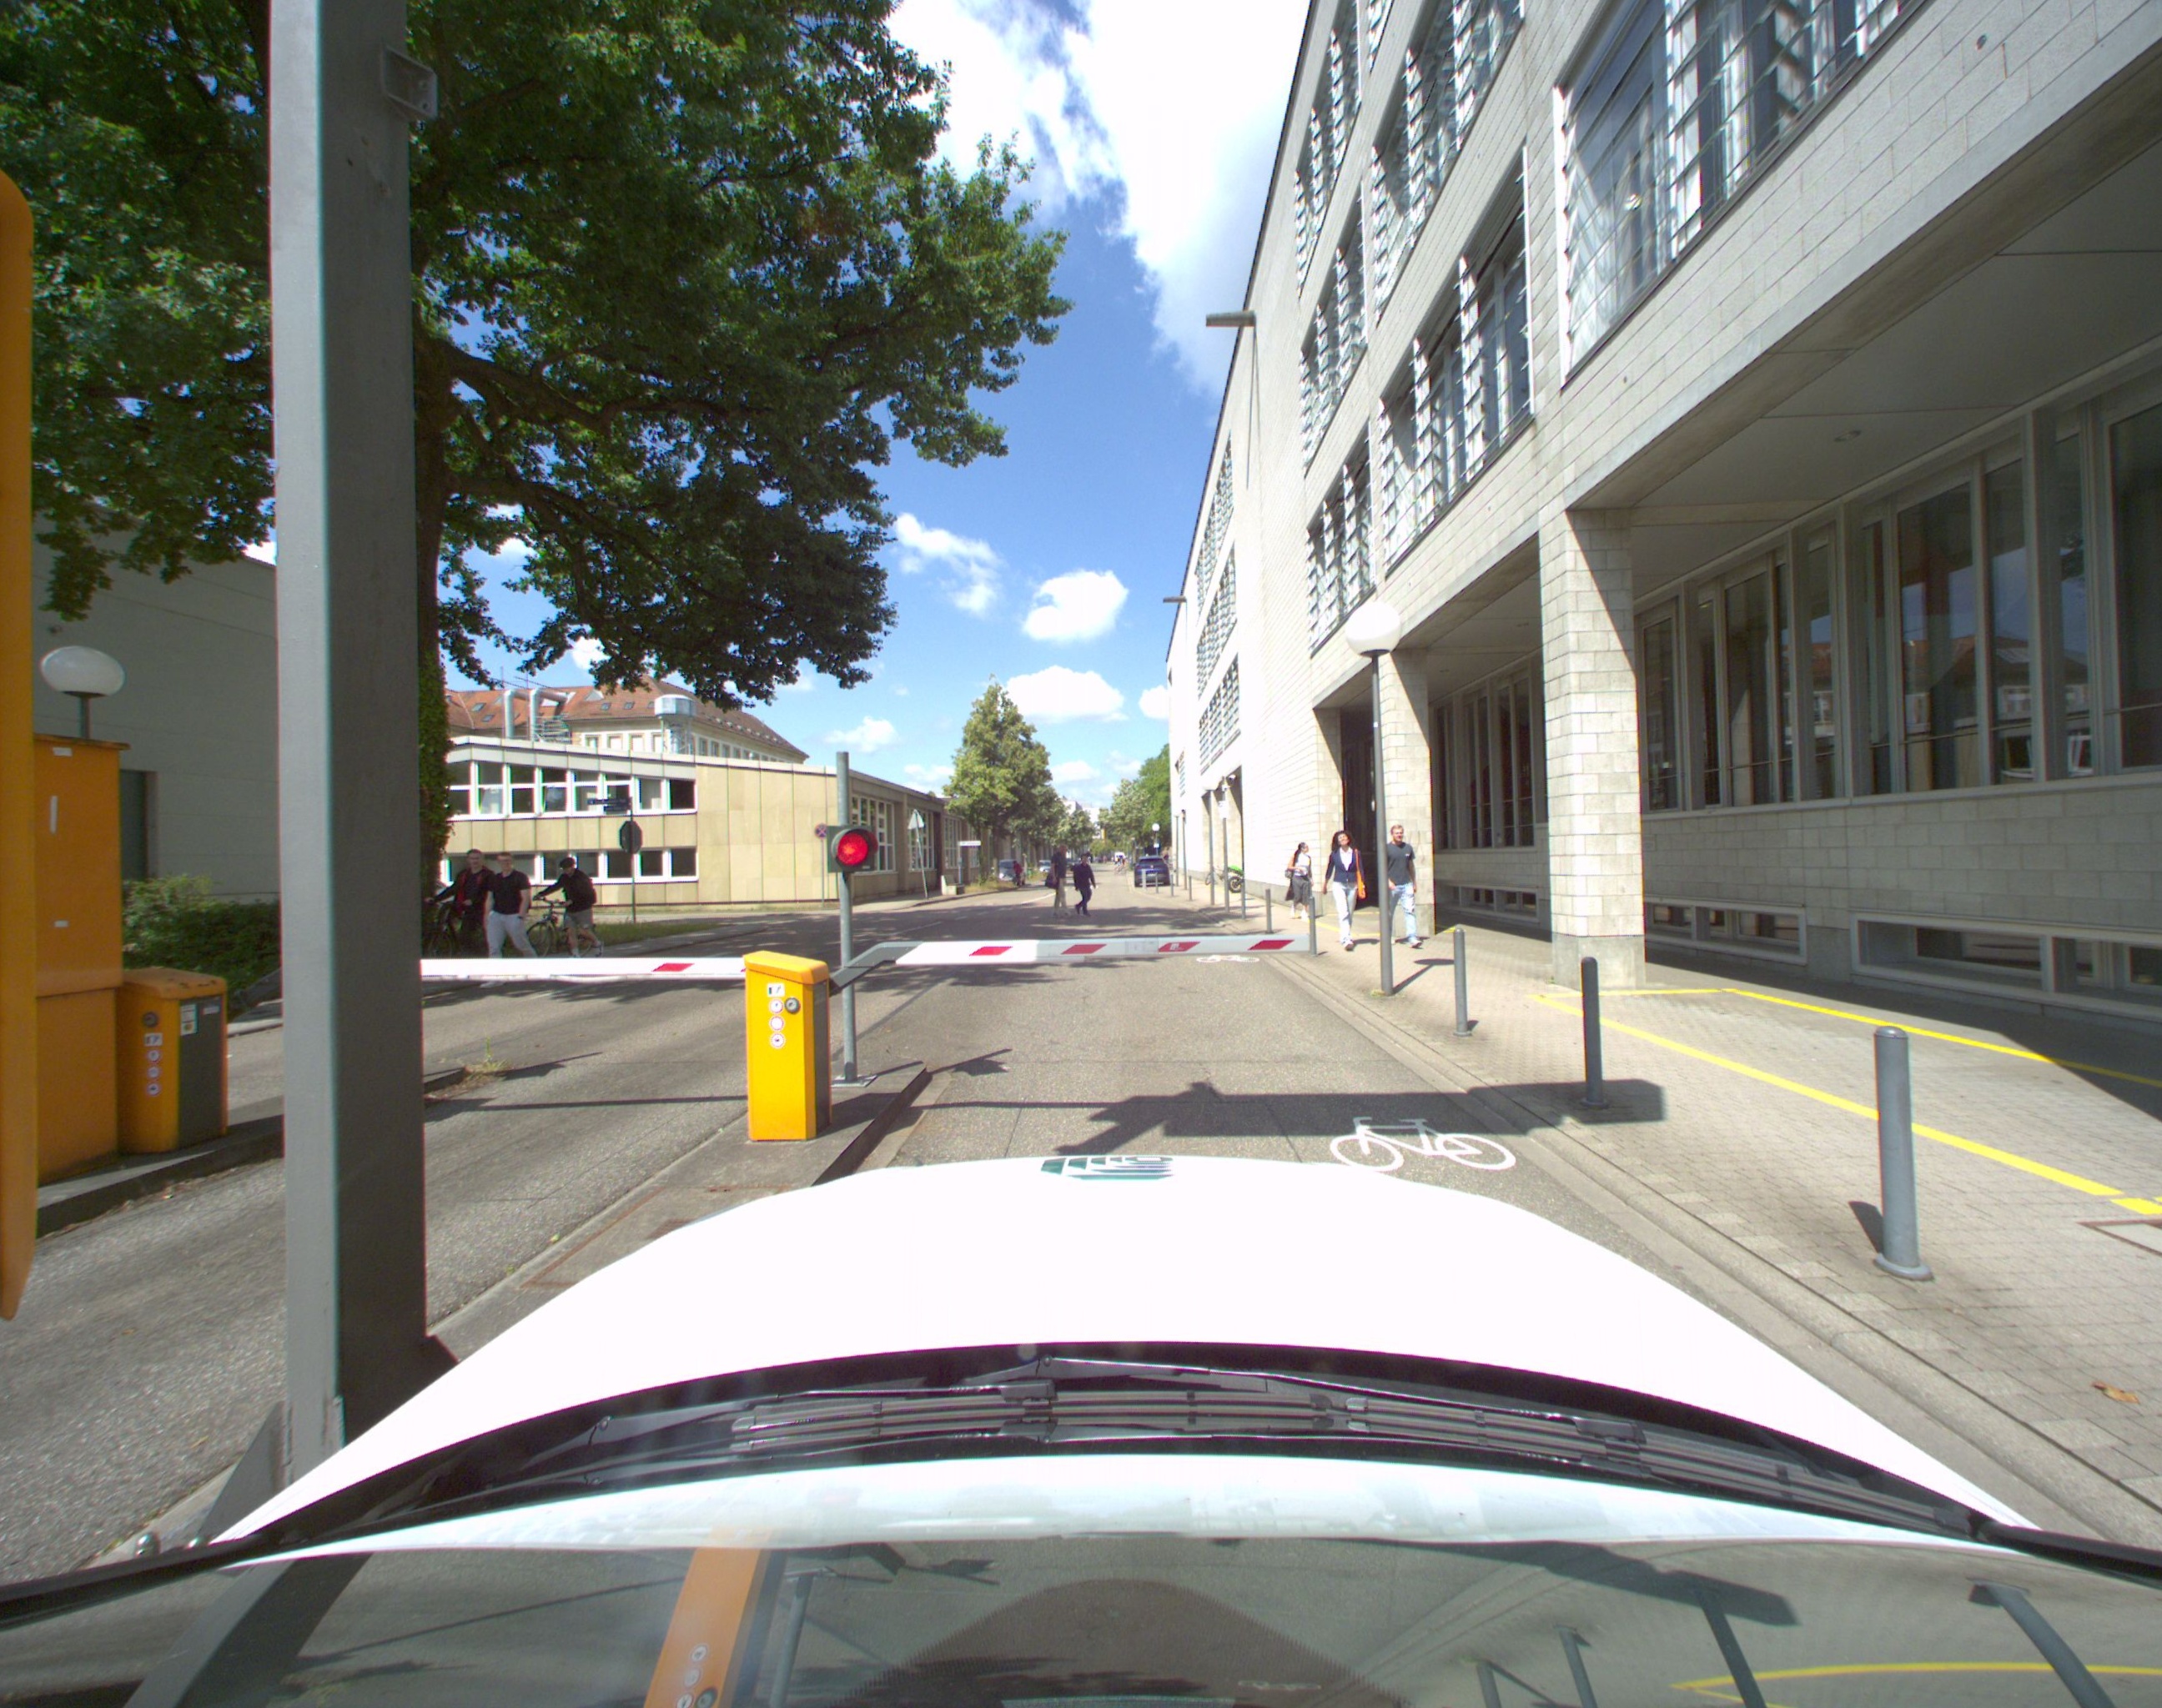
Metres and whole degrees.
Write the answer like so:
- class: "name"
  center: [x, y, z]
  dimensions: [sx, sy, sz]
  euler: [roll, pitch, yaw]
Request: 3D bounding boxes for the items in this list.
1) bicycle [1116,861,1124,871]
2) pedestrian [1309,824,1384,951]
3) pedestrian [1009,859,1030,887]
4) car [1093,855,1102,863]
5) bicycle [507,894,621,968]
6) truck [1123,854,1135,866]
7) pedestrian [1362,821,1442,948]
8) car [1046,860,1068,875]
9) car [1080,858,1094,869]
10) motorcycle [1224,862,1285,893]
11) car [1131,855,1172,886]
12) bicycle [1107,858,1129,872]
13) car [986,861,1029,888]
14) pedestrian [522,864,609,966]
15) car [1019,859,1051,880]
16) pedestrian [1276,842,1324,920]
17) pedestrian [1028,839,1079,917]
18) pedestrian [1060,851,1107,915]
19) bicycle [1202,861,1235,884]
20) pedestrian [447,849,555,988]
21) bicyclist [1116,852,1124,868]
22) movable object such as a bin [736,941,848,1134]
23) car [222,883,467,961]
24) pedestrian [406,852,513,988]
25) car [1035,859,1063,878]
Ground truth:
- class: "bicycle"
  center: [5.435, 1.678, 113.421]
  dimensions: [0.983, 1.316, 2.965]
  euler: [-2, -2, 2]
- class: "pedestrian"
  center: [3.960, 0.480, 12.219]
  dimensions: [0.692, 1.780, 1.086]
  euler: [-3, 0, 1]
- class: "pedestrian"
  center: [-3.644, 1.097, 48.226]
  dimensions: [0.892, 1.632, 0.885]
  euler: [0, -2, -44]
- class: "car"
  center: [4.168, 1.231, 205.176]
  dimensions: [1.984, 1.720, 4.005]
  euler: [-2, -2, 5]
- class: "bicycle"
  center: [-8.720, 1.273, 13.830]
  dimensions: [0.643, 1.049, 1.901]
  euler: [-2, 0, 2]
- class: "truck"
  center: [8.680, 1.155, 148.002]
  dimensions: [1.986, 2.014, 4.000]
  euler: [-2, -2, 1]
- class: "pedestrian"
  center: [4.770, 0.441, 12.154]
  dimensions: [0.764, 1.780, 0.911]
  euler: [-3, 0, 1]
- class: "car"
  center: [-2.603, 1.452, 88.340]
  dimensions: [1.985, 1.546, 4.215]
  euler: [-1, 0, 3]
- class: "car"
  center: [0.979, 1.485, 127.258]
  dimensions: [1.985, 1.546, 4.215]
  euler: [-1, 0, 3]
- class: "motorcycle"
  center: [6.421, 0.871, 30.245]
  dimensions: [2.113, 1.023, 0.660]
  euler: [-3, -2, 3]
- class: "car"
  center: [3.685, 0.836, 43.135]
  dimensions: [1.985, 1.546, 4.215]
  euler: [-1, 0, 3]
- class: "bicycle"
  center: [3.680, 1.121, 81.162]
  dimensions: [0.991, 1.316, 2.940]
  euler: [-1, -2, -23]
- class: "car"
  center: [-4.517, 1.214, 50.512]
  dimensions: [1.985, 1.546, 4.215]
  euler: [-1, 0, 3]
- class: "pedestrian"
  center: [-8.442, 0.977, 13.369]
  dimensions: [0.851, 1.586, 0.806]
  euler: [-2, 0, 1]
- class: "car"
  center: [-3.542, 1.190, 63.810]
  dimensions: [1.985, 1.546, 4.215]
  euler: [-1, 0, 3]
- class: "pedestrian"
  center: [4.786, 0.570, 17.869]
  dimensions: [0.738, 1.632, 0.888]
  euler: [-3, 0, 1]
- class: "pedestrian"
  center: [-0.721, 0.597, 20.846]
  dimensions: [1.008, 1.925, 0.879]
  euler: [0, -2, -28]
- class: "pedestrian"
  center: [0.059, 0.751, 21.509]
  dimensions: [0.899, 1.632, 0.879]
  euler: [0, -1, -28]
- class: "bicycle"
  center: [6.736, 0.894, 39.898]
  dimensions: [1.534, 1.066, 0.649]
  euler: [-2, -1, 10]
- class: "pedestrian"
  center: [-7.939, 0.848, 11.197]
  dimensions: [0.702, 1.809, 1.002]
  euler: [-2, 0, 2]
- class: "bicyclist"
  center: [5.392, 0.820, 113.437]
  dimensions: [0.983, 2.132, 1.037]
  euler: [-2, -2, 2]
- class: "movable object such as a bin"
  center: [-1.479, 0.923, 4.195]
  dimensions: [0.413, 0.905, 0.353]
  euler: [-1, 0, 7]
- class: "car"
  center: [-17.293, 1.521, 19.467]
  dimensions: [1.822, 1.467, 4.301]
  euler: [-1, 0, 2]
- class: "pedestrian"
  center: [-8.869, 0.905, 11.674]
  dimensions: [1.062, 1.816, 0.799]
  euler: [-2, 0, -28]
- class: "car"
  center: [-2.810, 1.260, 72.584]
  dimensions: [1.985, 1.546, 4.215]
  euler: [-1, 0, 3]
